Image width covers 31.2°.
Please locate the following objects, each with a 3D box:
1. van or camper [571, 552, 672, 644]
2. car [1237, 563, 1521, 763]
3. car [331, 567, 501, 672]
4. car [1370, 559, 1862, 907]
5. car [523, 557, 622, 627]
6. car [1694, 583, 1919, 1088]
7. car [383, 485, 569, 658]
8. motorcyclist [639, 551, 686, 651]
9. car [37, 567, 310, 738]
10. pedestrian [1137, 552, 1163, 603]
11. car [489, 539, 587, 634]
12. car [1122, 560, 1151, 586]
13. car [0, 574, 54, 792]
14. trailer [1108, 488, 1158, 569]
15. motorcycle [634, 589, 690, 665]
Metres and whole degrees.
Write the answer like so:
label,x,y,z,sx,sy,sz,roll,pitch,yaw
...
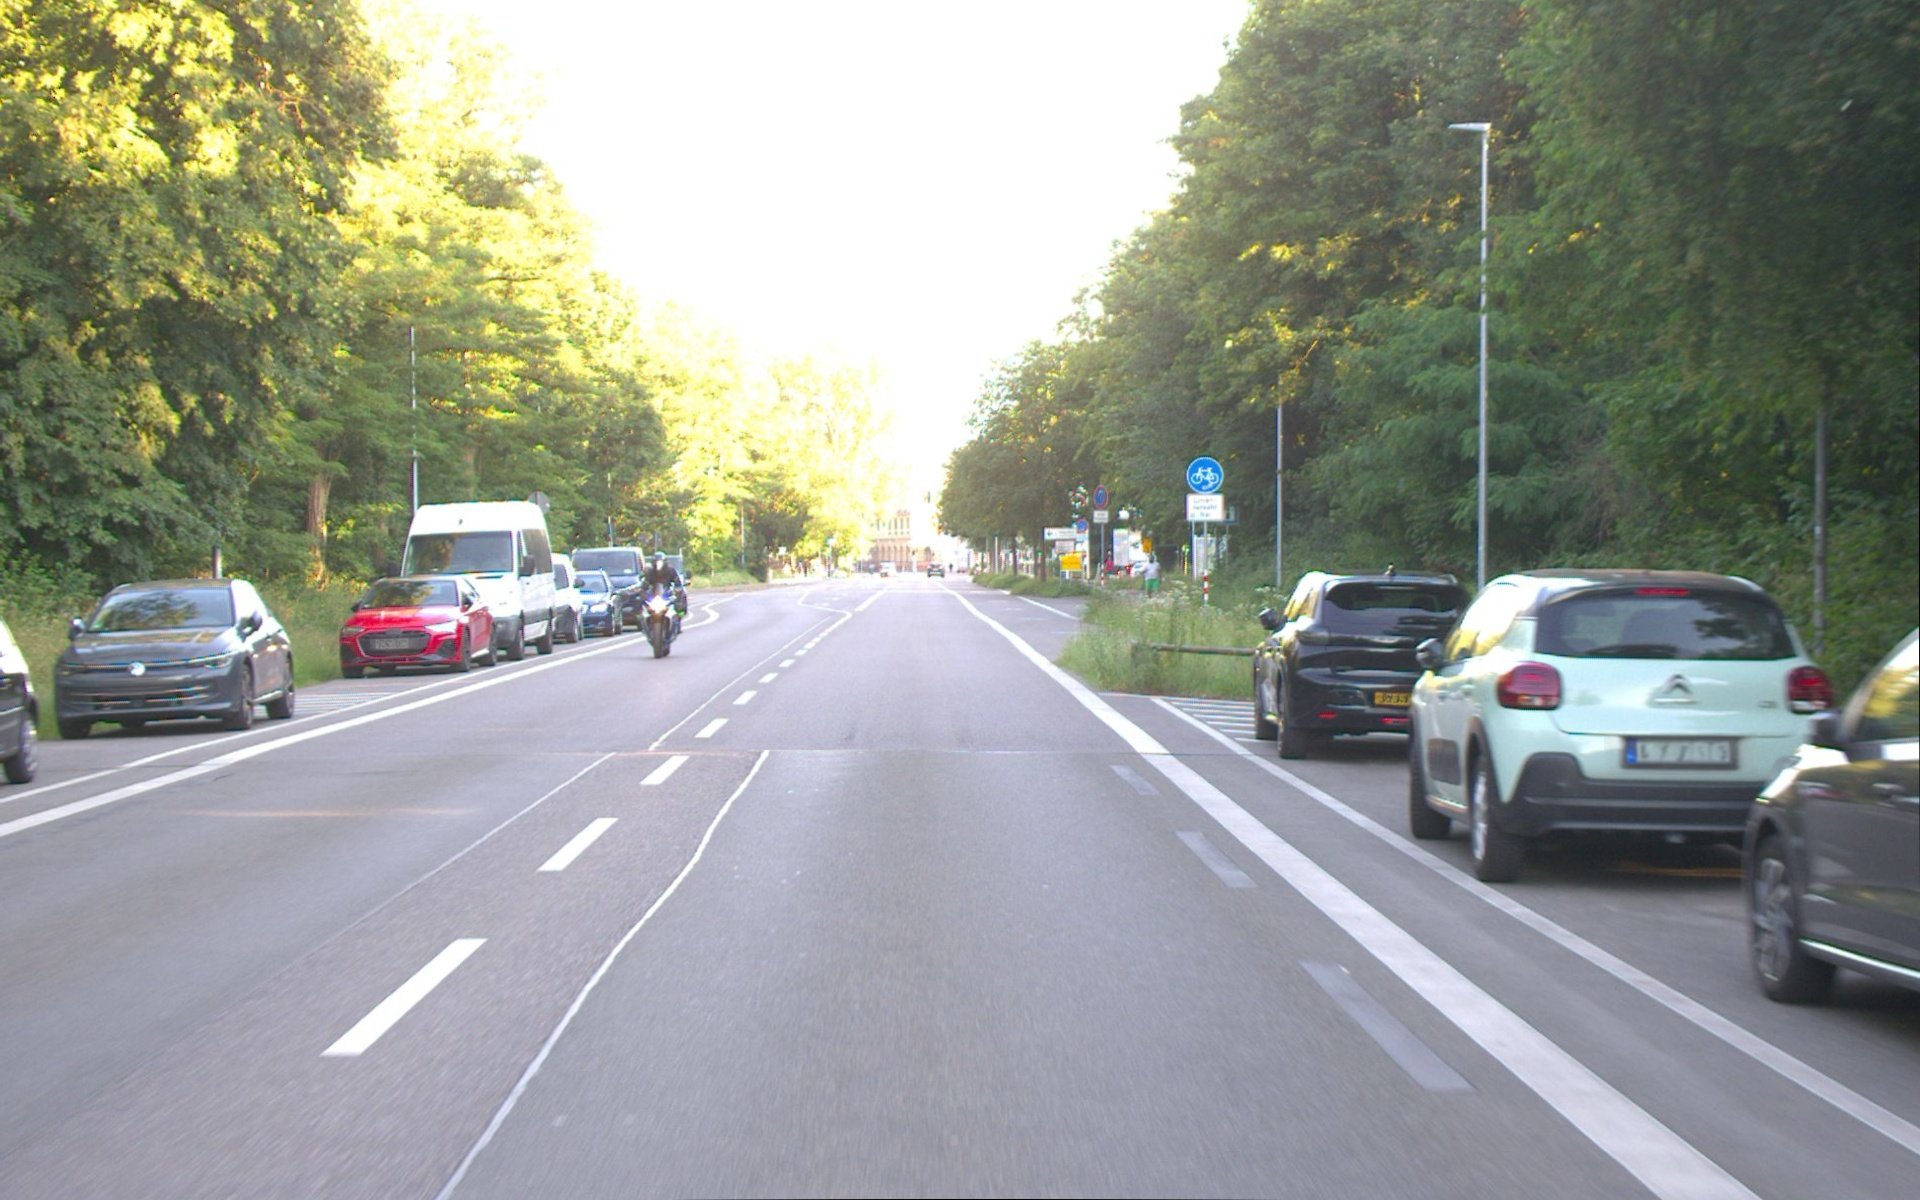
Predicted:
label,x,y,z,sx,sy,sz,roll,pitch,yaw
van or camper,-7.980,-0.083,81.468,2.002,2.011,5.462,-3,1,-3
car,3.258,0.440,27.407,1.710,1.439,4.122,0,1,-1
car,-7.874,0.253,50.097,1.716,1.425,4.388,-1,1,1
car,3.201,0.575,17.532,1.688,1.541,4.112,-1,1,0
car,-8.400,-0.200,74.840,1.669,1.428,4.447,-2,1,-1
car,3.557,0.685,10.687,1.579,1.441,3.961,-1,1,-2
car,-7.981,-0.480,57.391,2.079,2.597,7.089,-3,1,-1
motorcyclist,-4.607,0.011,53.234,0.604,1.524,0.995,-1,1,2
car,-7.587,0.461,33.543,1.845,1.457,4.230,-3,1,-3
pedestrian,6.453,-0.768,116.939,0.838,1.745,0.726,0,0,0
car,-8.552,-0.297,69.879,1.687,1.852,4.388,0,1,-3
car,11.385,-1.728,221.472,1.770,1.578,4.818,1,0,3
car,-7.520,0.616,23.493,1.711,1.503,3.657,-2,1,-1
trailer,11.803,-4.817,234.801,3.020,5.443,7.934,0,0,0
motorcycle,-4.599,0.410,53.122,0.611,1.123,1.961,-1,1,2
